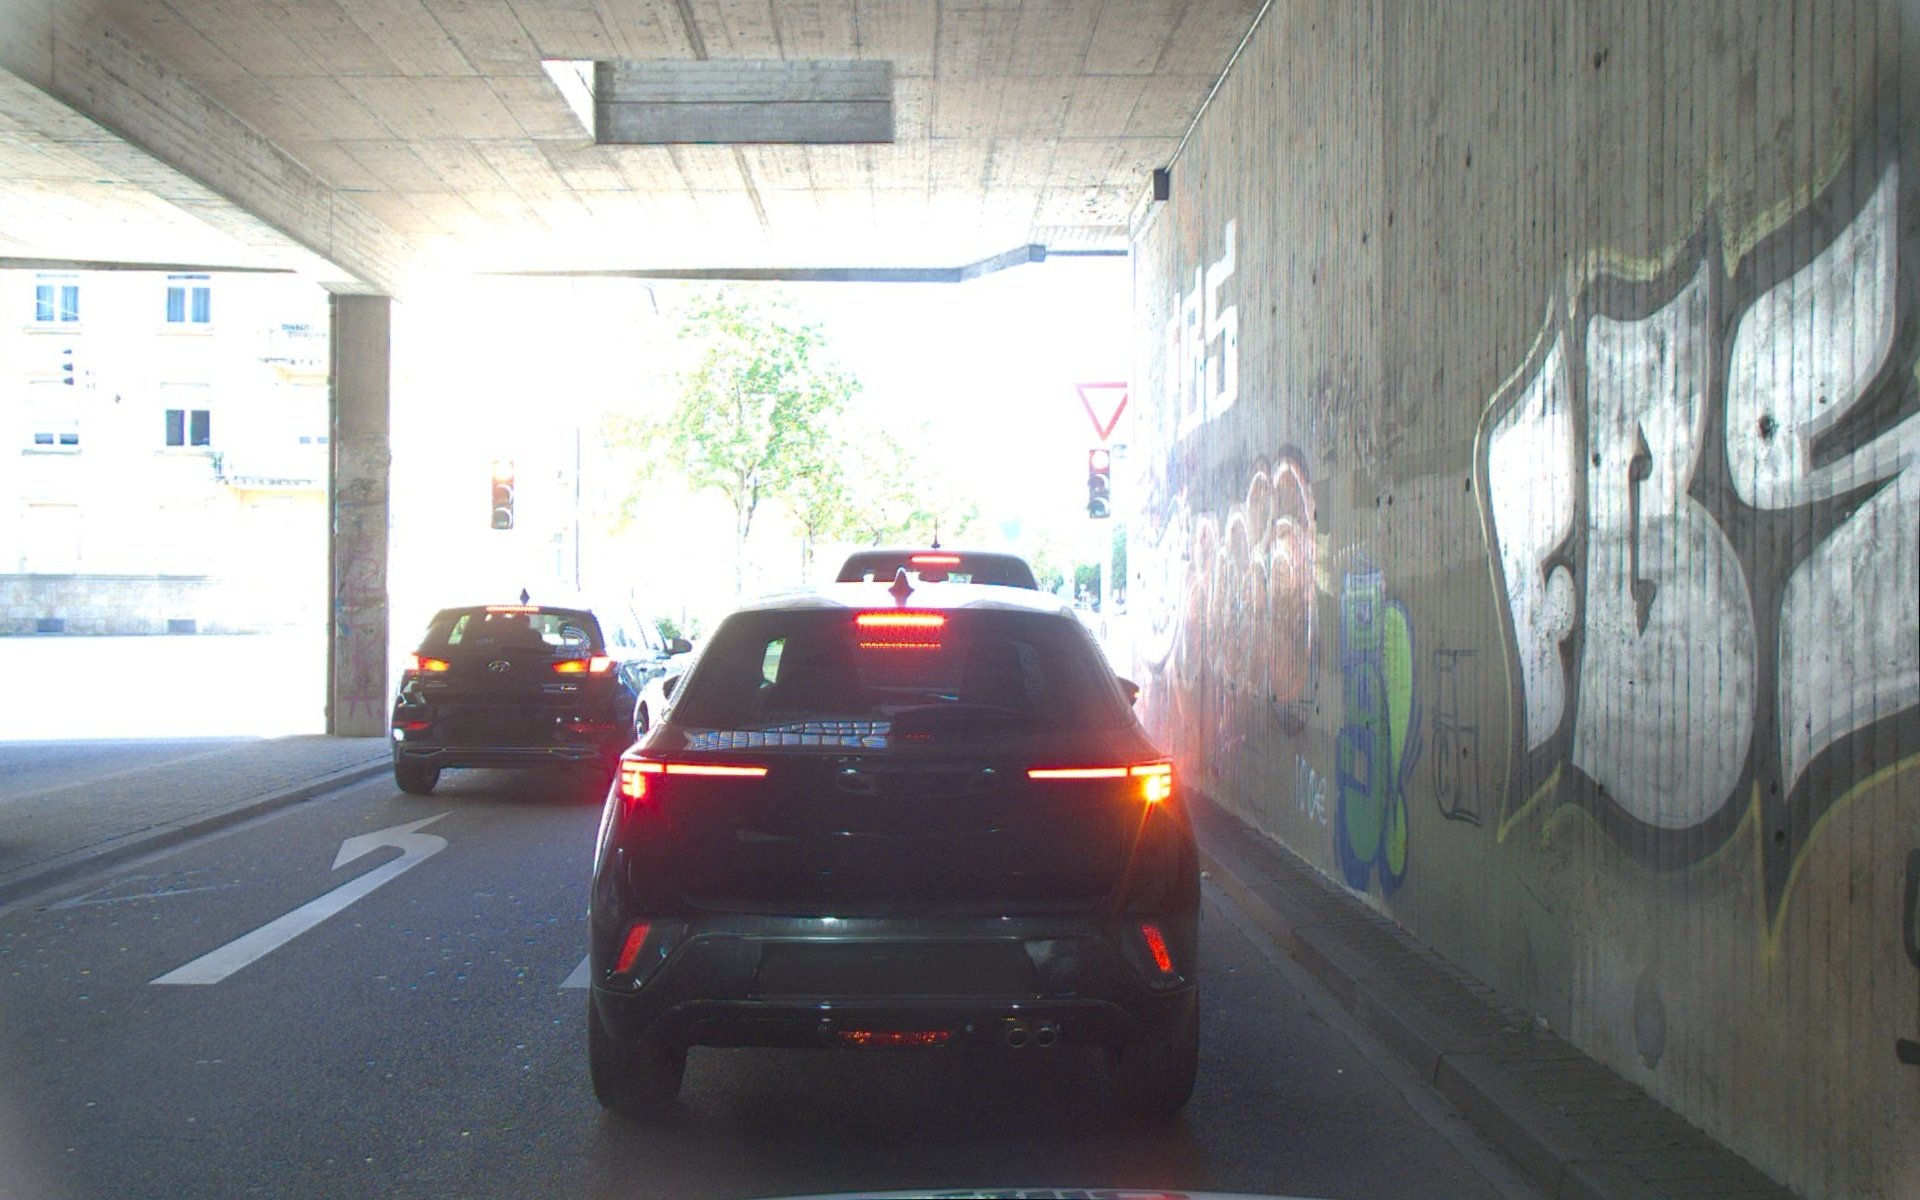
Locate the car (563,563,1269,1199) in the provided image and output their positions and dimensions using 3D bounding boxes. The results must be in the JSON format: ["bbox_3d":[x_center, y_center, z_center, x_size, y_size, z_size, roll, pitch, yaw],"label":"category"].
[{"bbox_3d":[-0.132,0.689,6.109,1.726,1.558,4.088,0,0,-1],"label":"car"}]

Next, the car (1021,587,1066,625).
[{"bbox_3d":[3.922,0.278,77.044,1.716,1.696,3.947,1,0,8],"label":"car"}]

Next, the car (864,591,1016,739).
[{"bbox_3d":[-0.234,0.673,19.268,1.576,1.539,4.053,0,0,-1],"label":"car"}]

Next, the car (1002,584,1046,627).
[{"bbox_3d":[2.665,0.219,68.374,1.717,1.696,3.946,1,0,3],"label":"car"}]

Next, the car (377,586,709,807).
[{"bbox_3d":[-3.143,0.660,13.251,1.726,1.506,3.843,0,0,-1],"label":"car"}]

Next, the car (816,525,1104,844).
[{"bbox_3d":[-0.027,0.507,12.053,1.726,1.915,4.145,0,0,-1],"label":"car"}]

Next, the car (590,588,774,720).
[{"bbox_3d":[-3.415,0.620,20.971,1.726,1.506,3.843,0,0,-1],"label":"car"}]

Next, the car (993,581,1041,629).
[{"bbox_3d":[2.176,0.185,62.248,1.717,1.696,3.946,1,0,3],"label":"car"}]
